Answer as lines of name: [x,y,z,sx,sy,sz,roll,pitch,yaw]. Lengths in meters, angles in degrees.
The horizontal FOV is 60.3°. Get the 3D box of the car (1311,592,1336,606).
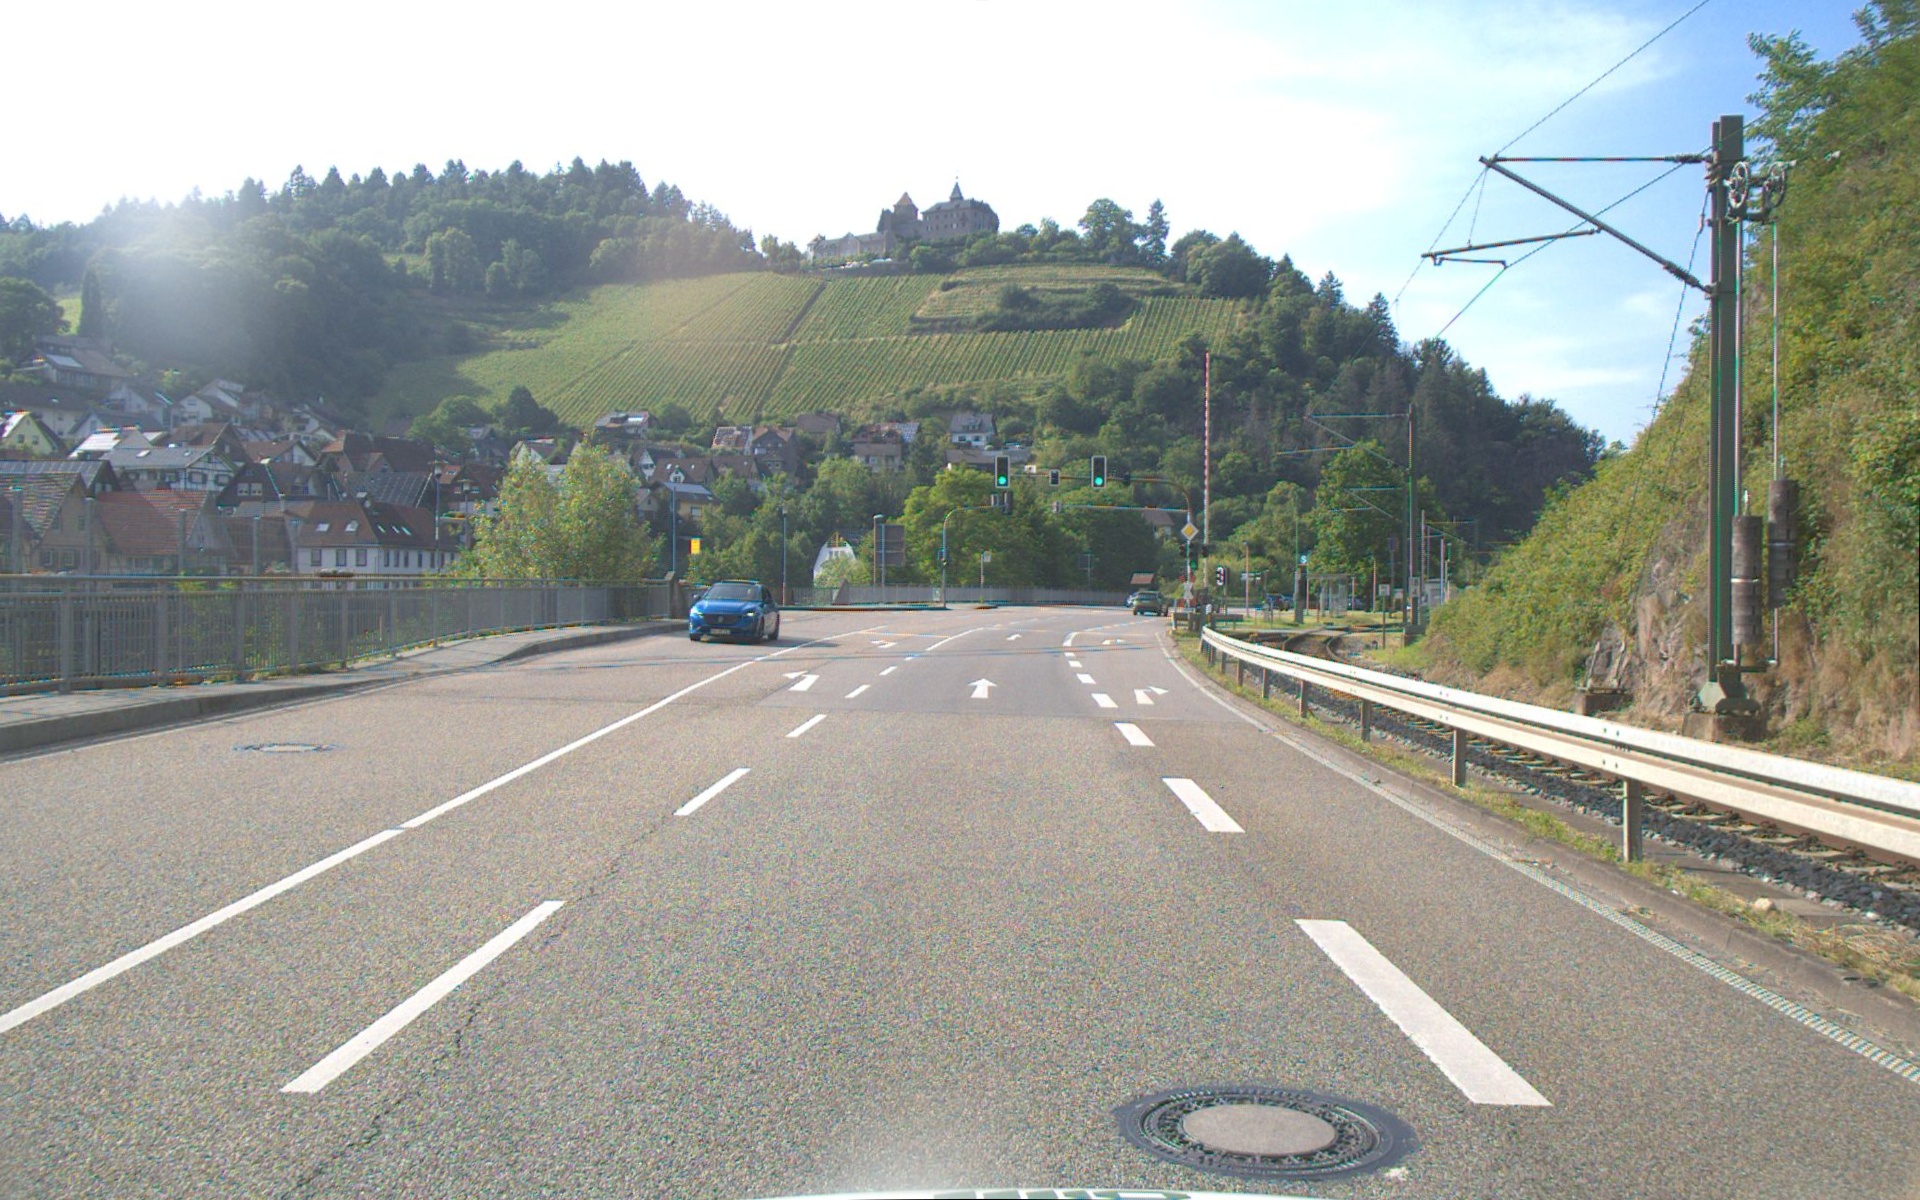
car: [38.735,-0.089,176.058,1.773,1.433,3.770,-1,-1,26]

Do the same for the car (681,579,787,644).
car: [-5.644,0.252,41.820,1.745,1.508,4.528,1,1,4]

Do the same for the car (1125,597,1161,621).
car: [11.248,0.563,101.528,1.692,1.482,3.413,-1,-1,16]

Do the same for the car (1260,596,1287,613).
car: [28.947,0.420,152.721,1.769,1.478,3.647,-1,-1,21]

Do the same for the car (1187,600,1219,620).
car: [18.011,0.731,122.443,1.801,1.485,3.715,-1,-1,18]
